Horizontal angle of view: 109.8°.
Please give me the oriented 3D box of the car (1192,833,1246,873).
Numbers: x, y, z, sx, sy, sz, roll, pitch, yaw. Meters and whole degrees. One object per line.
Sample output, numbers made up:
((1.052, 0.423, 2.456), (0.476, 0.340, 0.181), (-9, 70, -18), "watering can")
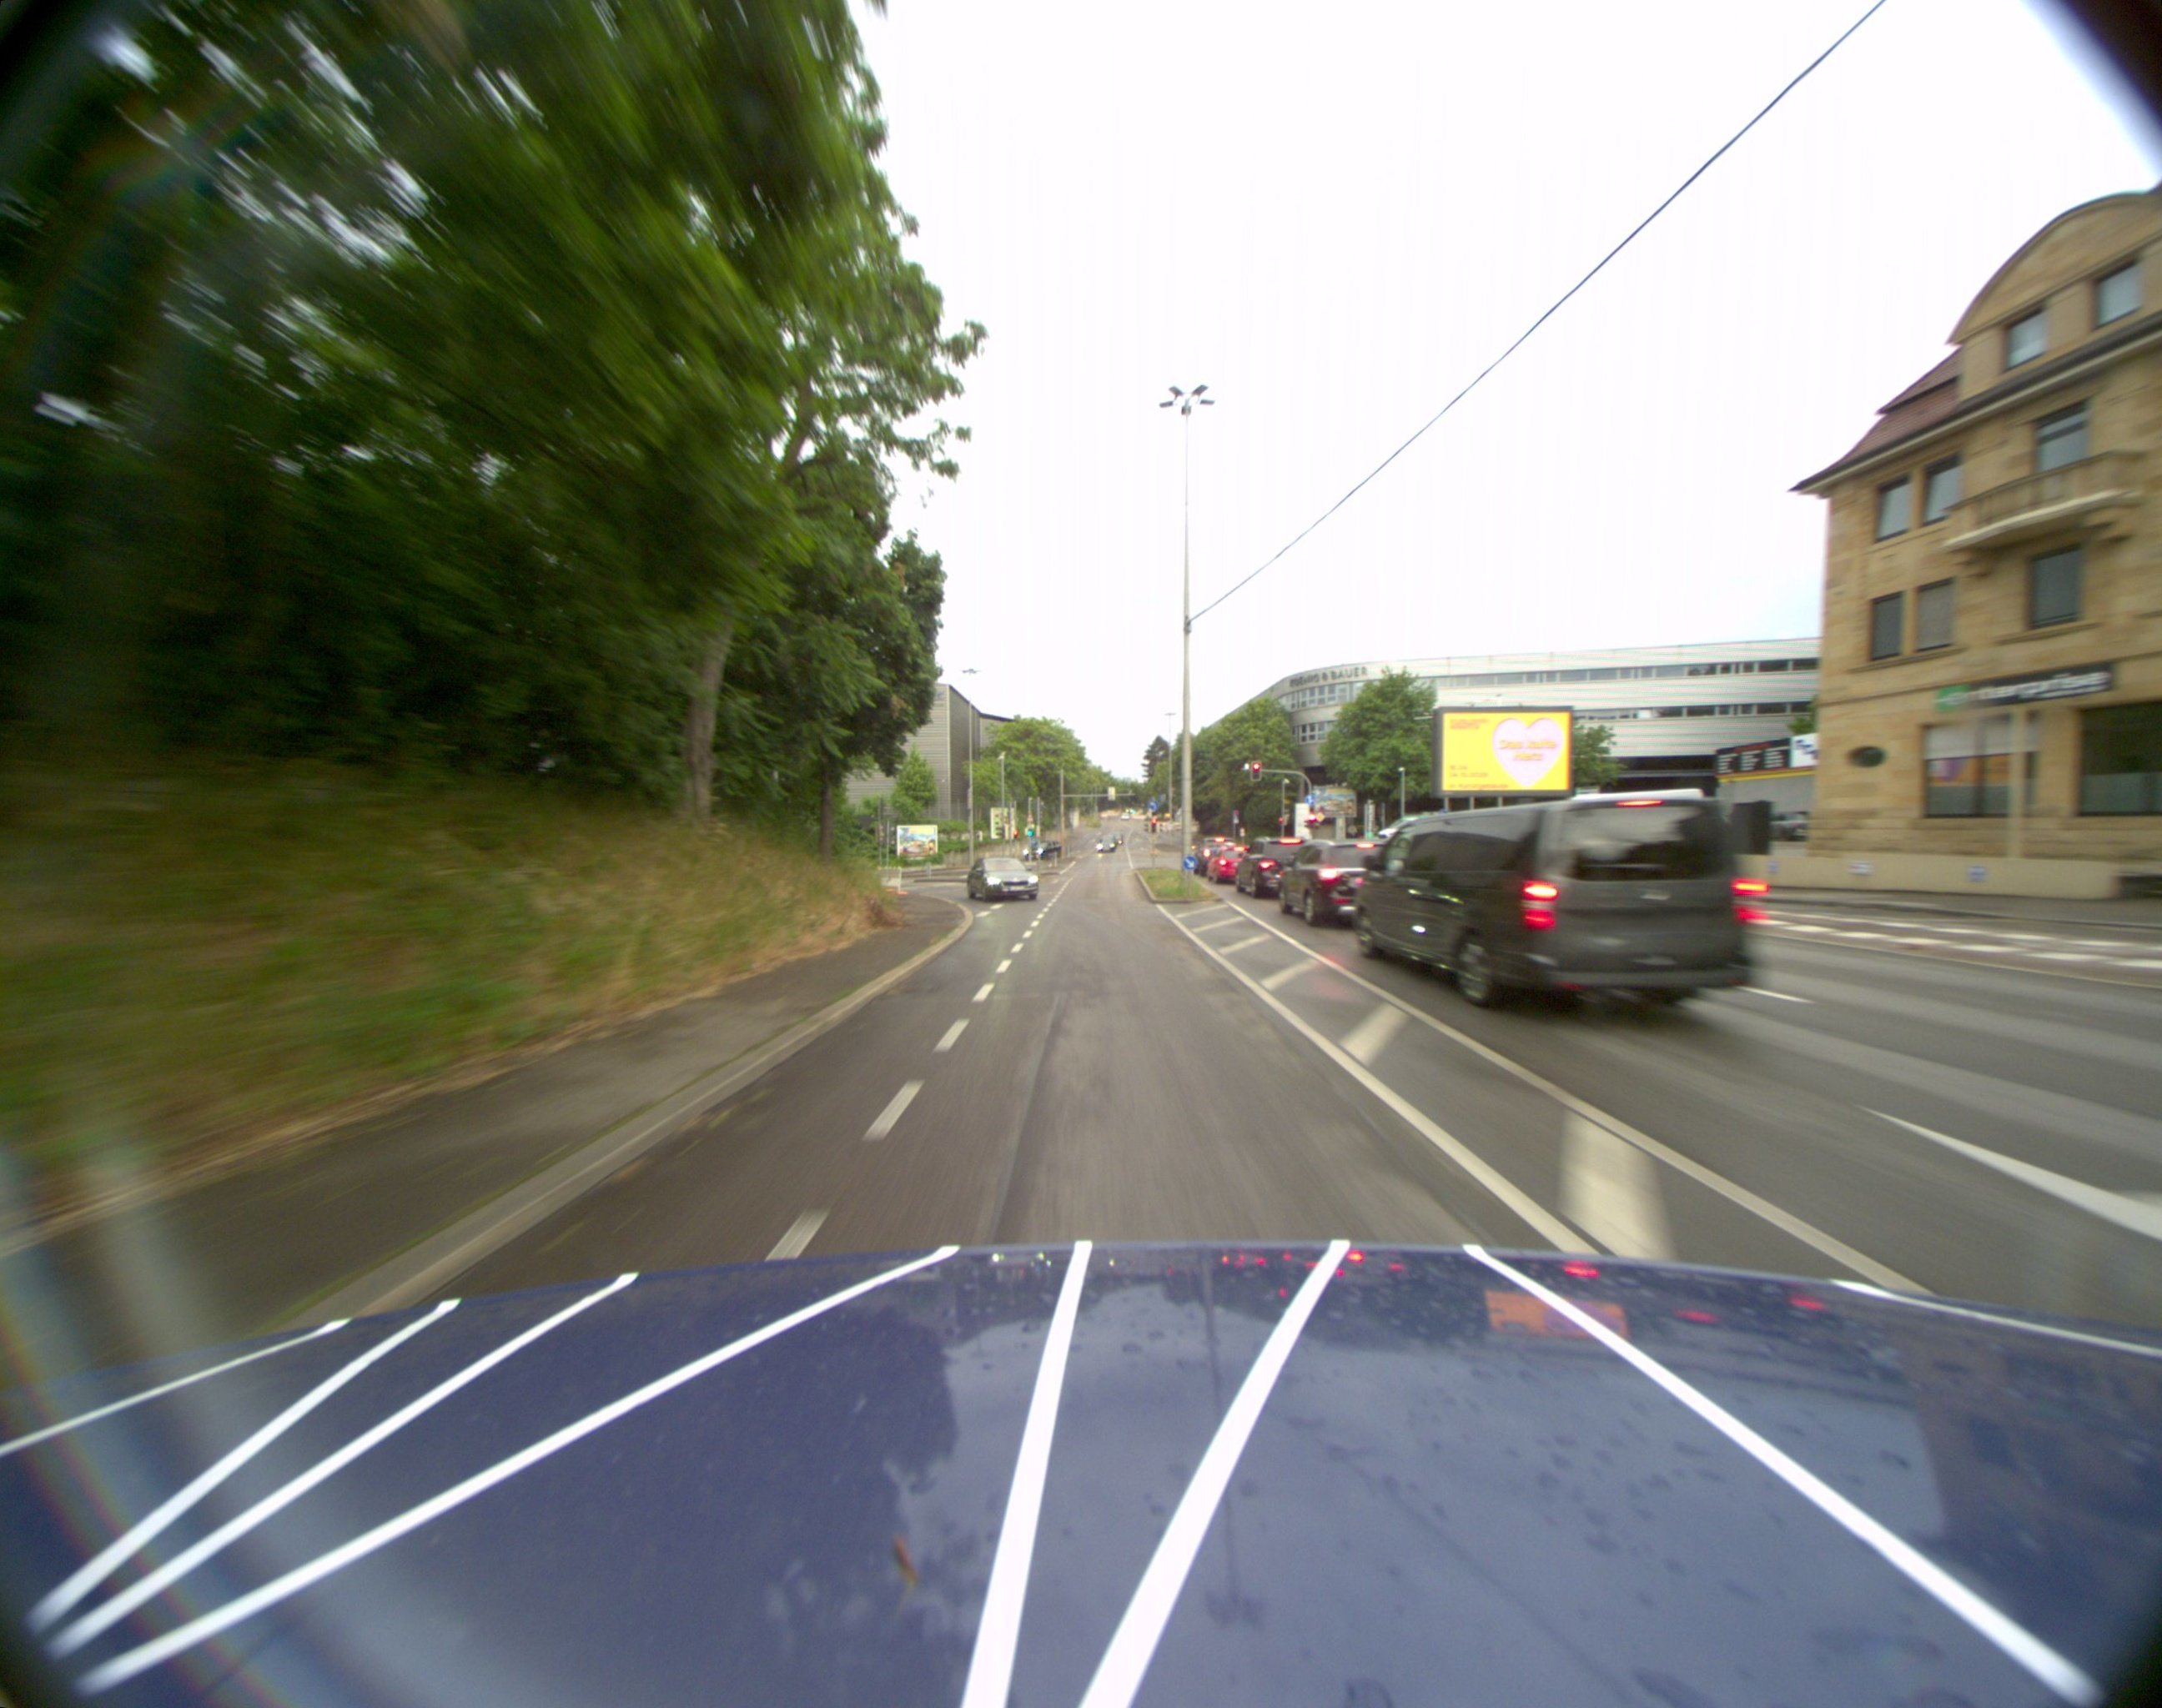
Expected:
((6.677, -0.108, 37.238), (1.938, 1.808, 5.170), (0, 1, 3), "car")

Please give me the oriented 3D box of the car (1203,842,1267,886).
((6.186, 0.359, 30.930), (1.810, 1.522, 4.440), (0, 3, 2), "car")

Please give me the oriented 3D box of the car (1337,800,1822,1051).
((4.537, 0.513, 8.165), (2.019, 1.856, 5.041), (0, 1, 2), "car")

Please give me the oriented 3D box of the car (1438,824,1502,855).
((20.283, -0.761, 39.708), (2.684, 1.417, 1.227), (-3, 2, 2), "car")

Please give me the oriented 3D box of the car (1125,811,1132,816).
((11.665, -9.923, 187.098), (1.532, 1.308, 3.230), (0, 3, 6), "car")

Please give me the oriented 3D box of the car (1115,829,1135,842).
((5.462, -2.272, 94.257), (1.751, 1.363, 3.758), (-3, 3, 14), "car")

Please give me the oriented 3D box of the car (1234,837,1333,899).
((5.989, 0.357, 23.006), (1.959, 1.687, 4.625), (0, 1, 3), "car")

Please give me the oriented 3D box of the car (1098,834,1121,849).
((2.943, -1.327, 77.910), (1.595, 1.253, 3.758), (-3, 3, 14), "car")

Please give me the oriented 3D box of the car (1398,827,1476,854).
((20.733, -0.801, 44.324), (3.620, 1.361, 1.872), (-3, 2, 2), "car")

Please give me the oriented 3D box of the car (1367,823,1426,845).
((26.711, -1.678, 64.495), (4.374, 1.591, 2.036), (-3, 2, 14), "car")

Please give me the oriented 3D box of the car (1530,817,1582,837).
((33.095, -1.909, 53.051), (1.574, 1.314, 3.295), (0, 3, 0), "car")

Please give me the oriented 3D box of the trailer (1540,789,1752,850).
((23.828, -1.464, 32.269), (7.115, 2.415, 2.394), (0, 3, 0), "trailer")

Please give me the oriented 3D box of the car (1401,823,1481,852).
((19.934, -0.943, 42.161), (3.620, 1.361, 1.741), (-3, 2, 2), "car")

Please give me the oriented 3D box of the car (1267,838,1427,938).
((5.136, 0.531, 15.418), (1.692, 1.596, 4.726), (0, 3, 2), "car")

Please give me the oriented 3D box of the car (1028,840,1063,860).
((-3.247, -0.388, 70.470), (1.950, 1.535, 4.213), (-3, 3, 14), "car")

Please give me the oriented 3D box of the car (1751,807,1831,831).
((33.779, -1.667, 36.240), (1.321, 1.102, 3.416), (0, 3, 15), "car")

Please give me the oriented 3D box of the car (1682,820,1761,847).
((34.475, -1.083, 41.025), (1.371, 1.398, 4.344), (0, 1, 13), "car")

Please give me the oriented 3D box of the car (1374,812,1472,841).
((22.086, -1.796, 49.246), (5.371, 1.792, 2.218), (-1, 3, -6), "car")

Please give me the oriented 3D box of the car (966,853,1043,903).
((-2.741, 0.785, 26.370), (1.813, 1.509, 4.046), (-3, 0, -17), "car")
